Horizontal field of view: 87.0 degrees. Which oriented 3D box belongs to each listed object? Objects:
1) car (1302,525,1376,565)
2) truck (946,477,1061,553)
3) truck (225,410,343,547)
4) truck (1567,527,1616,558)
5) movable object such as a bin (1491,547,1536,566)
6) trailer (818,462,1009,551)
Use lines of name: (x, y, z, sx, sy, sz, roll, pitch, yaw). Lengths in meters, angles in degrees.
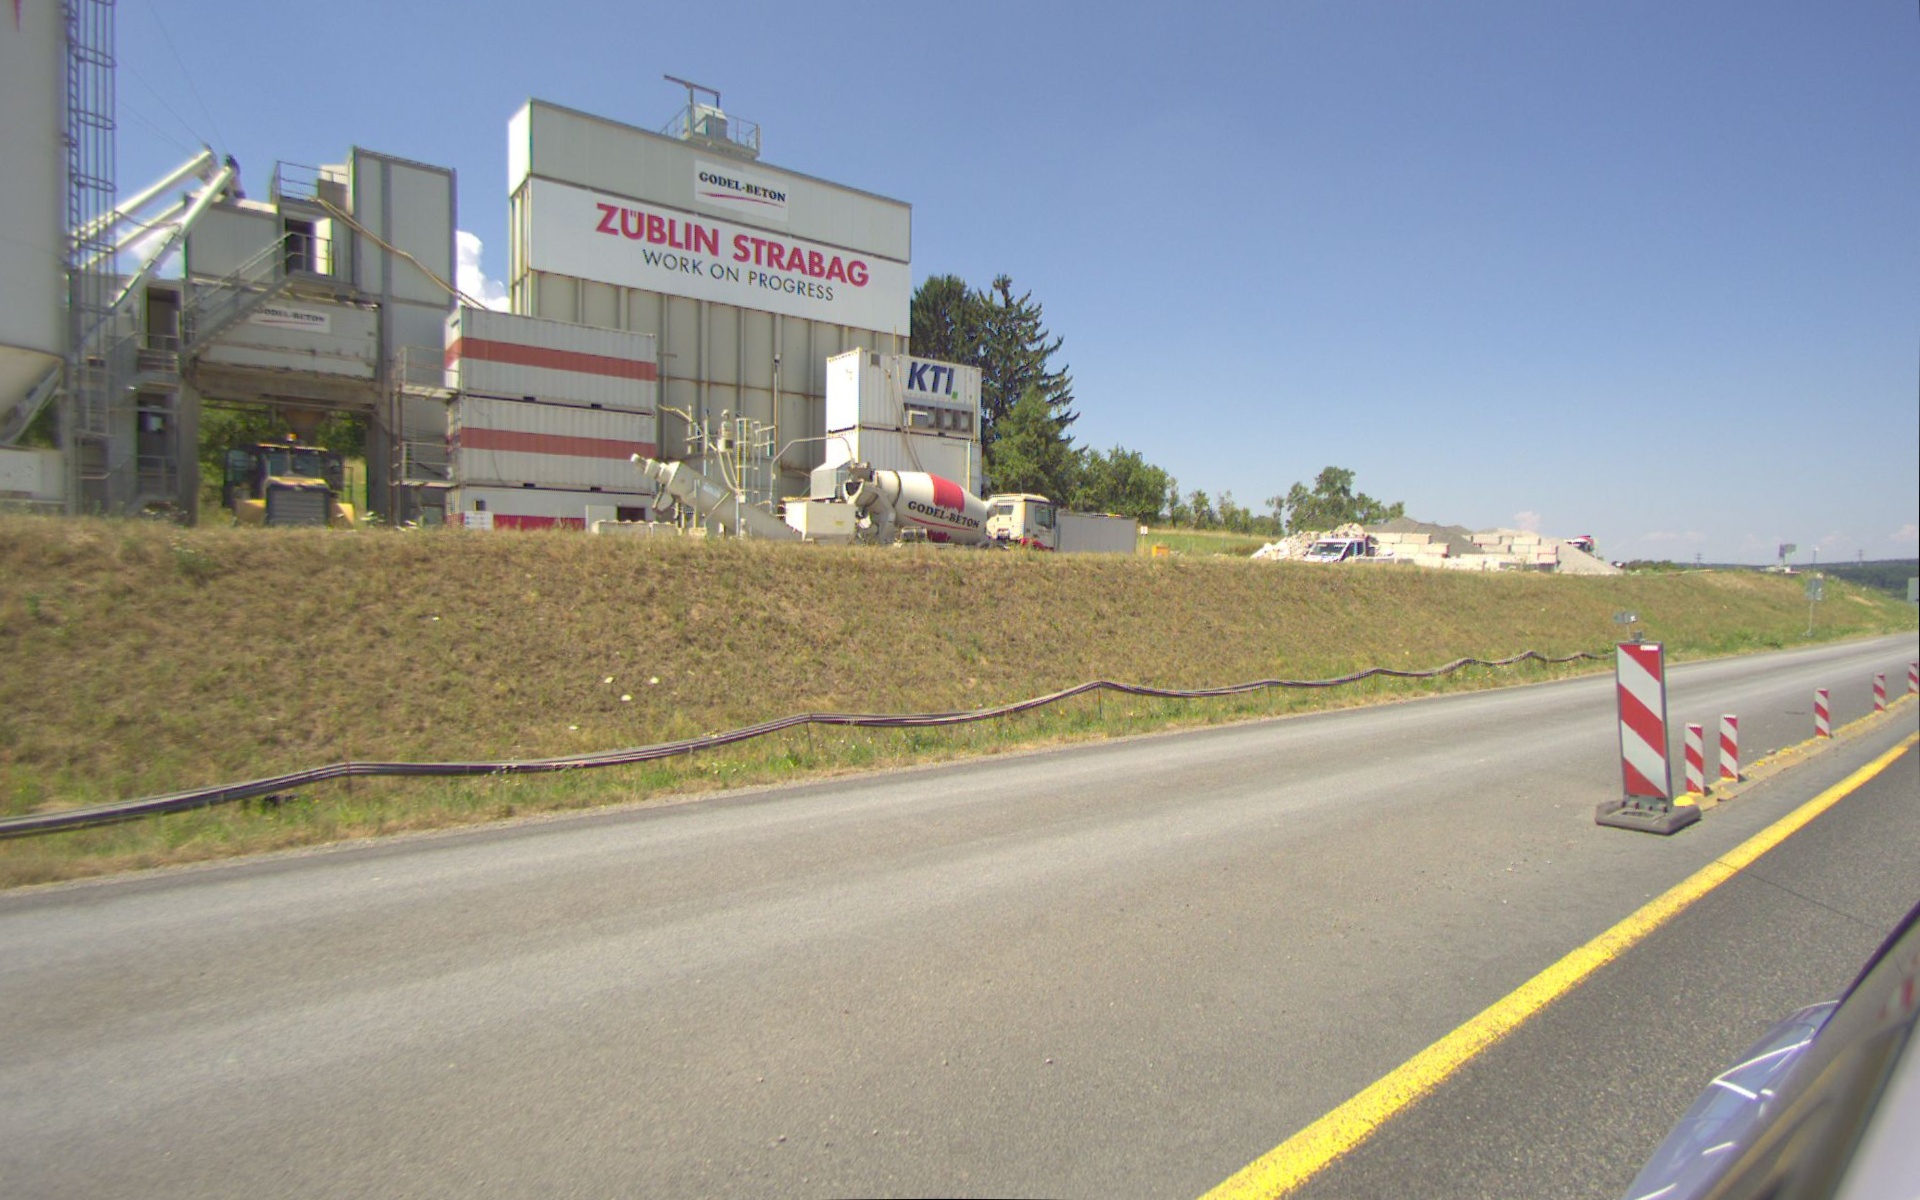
car: (18.621, -2.662, 49.706, 3.539, 1.785, 1.989, -1, 0, -41)
truck: (1.661, -3.117, 38.180, 3.966, 2.577, 2.022, -1, 0, -37)
truck: (-19.283, -3.165, 28.876, 2.412, 2.904, 9.103, 0, 0, -34)
truck: (65.974, -5.948, 105.635, 8.915, 2.855, 2.218, -1, 0, -44)
movable object such as a bin: (21.858, -1.698, 39.940, 2.210, 0.690, 0.837, -1, 0, -41)
trailer: (-1.515, -3.164, 35.713, 6.809, 2.678, 1.999, -1, 0, -38)
